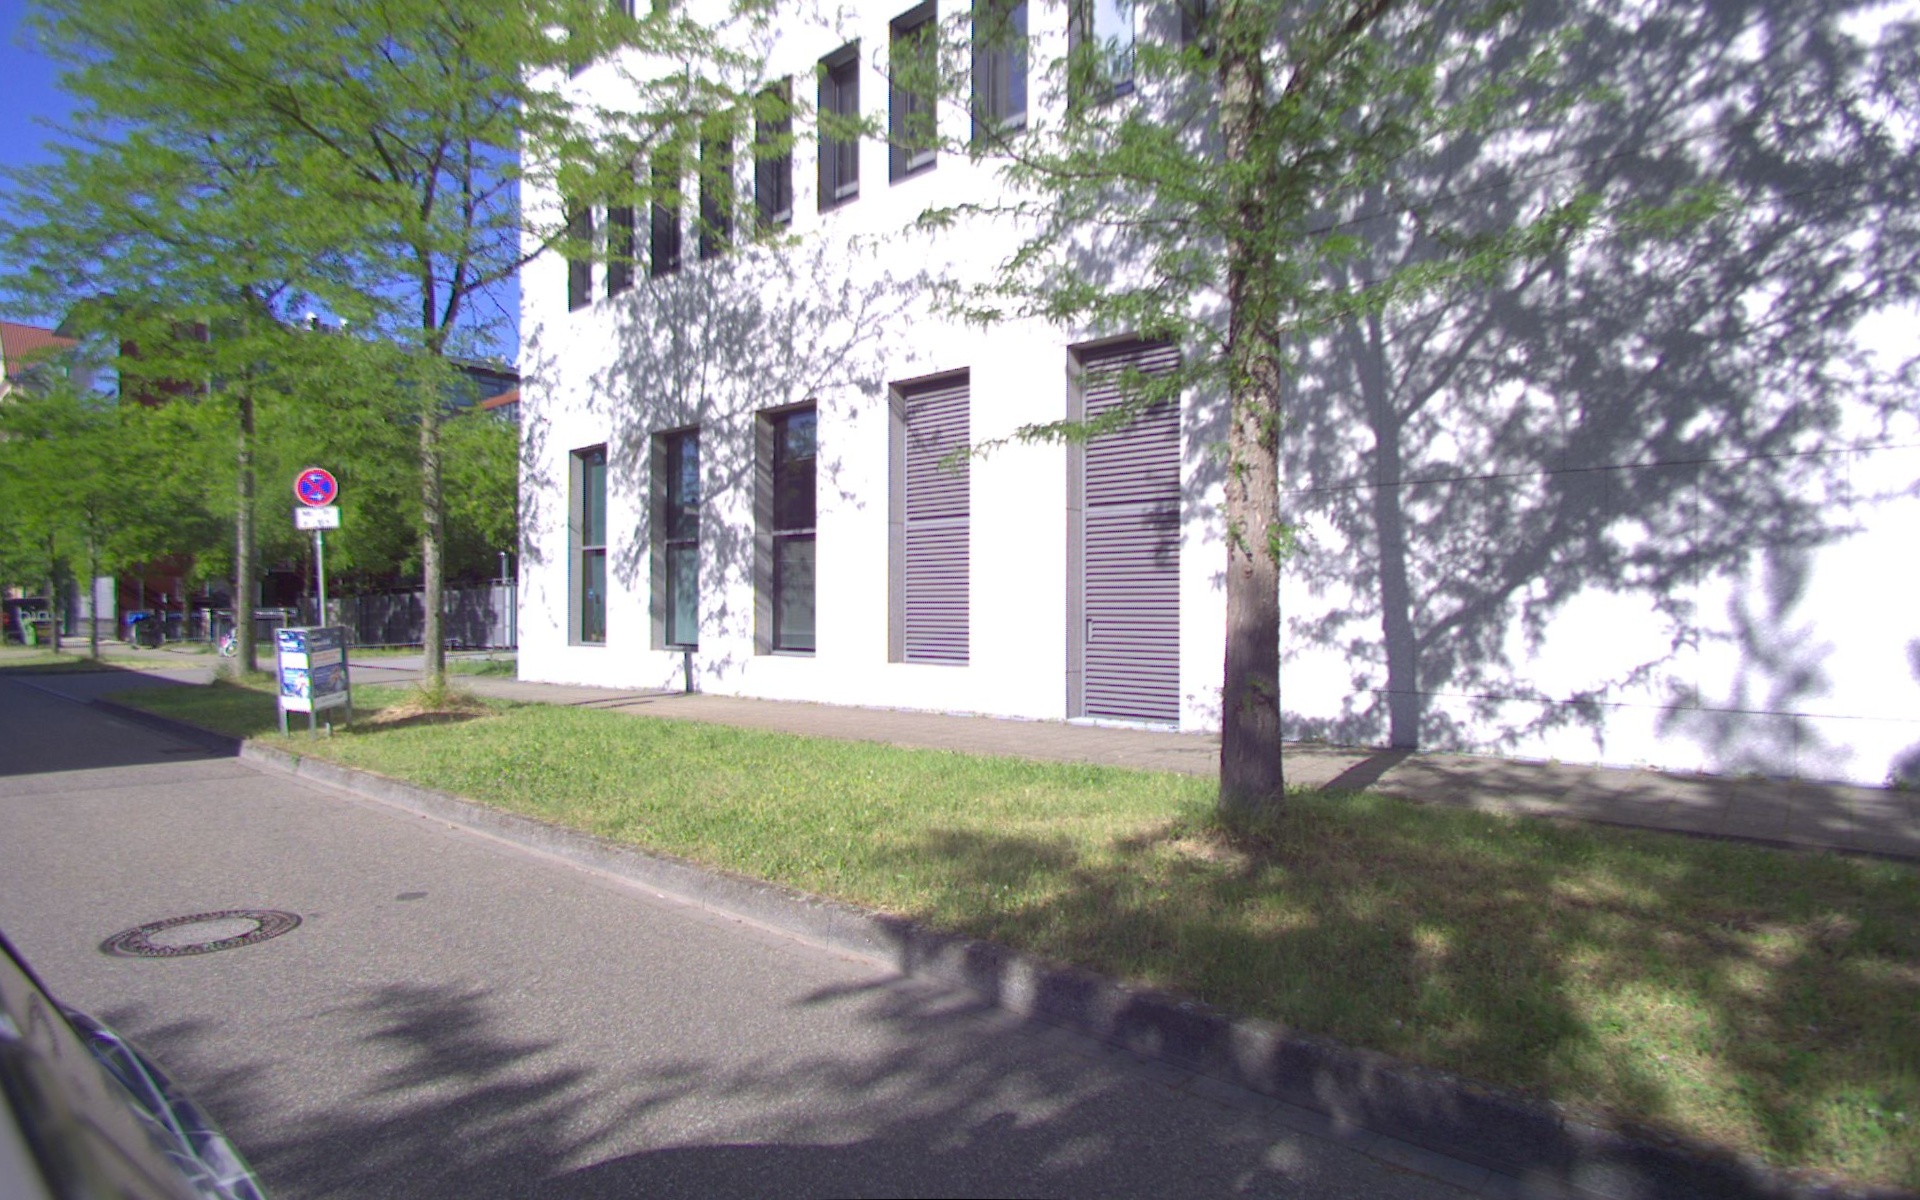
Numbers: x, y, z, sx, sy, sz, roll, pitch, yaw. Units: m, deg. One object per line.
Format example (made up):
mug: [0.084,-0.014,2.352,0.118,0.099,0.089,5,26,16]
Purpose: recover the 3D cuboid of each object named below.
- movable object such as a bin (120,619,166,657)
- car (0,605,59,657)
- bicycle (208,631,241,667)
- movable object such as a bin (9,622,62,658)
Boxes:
movable object such as a bin: [-35.930,1.662,44.505,1.501,1.580,1.348,-1,-1,-43]
car: [-49.893,1.635,51.746,1.985,2.560,5.419,-1,1,41]
bicycle: [-25.737,1.693,35.390,1.727,1.201,0.594,-1,-1,42]
movable object such as a bin: [-42.387,1.820,46.412,1.342,1.580,1.508,-1,-1,32]
